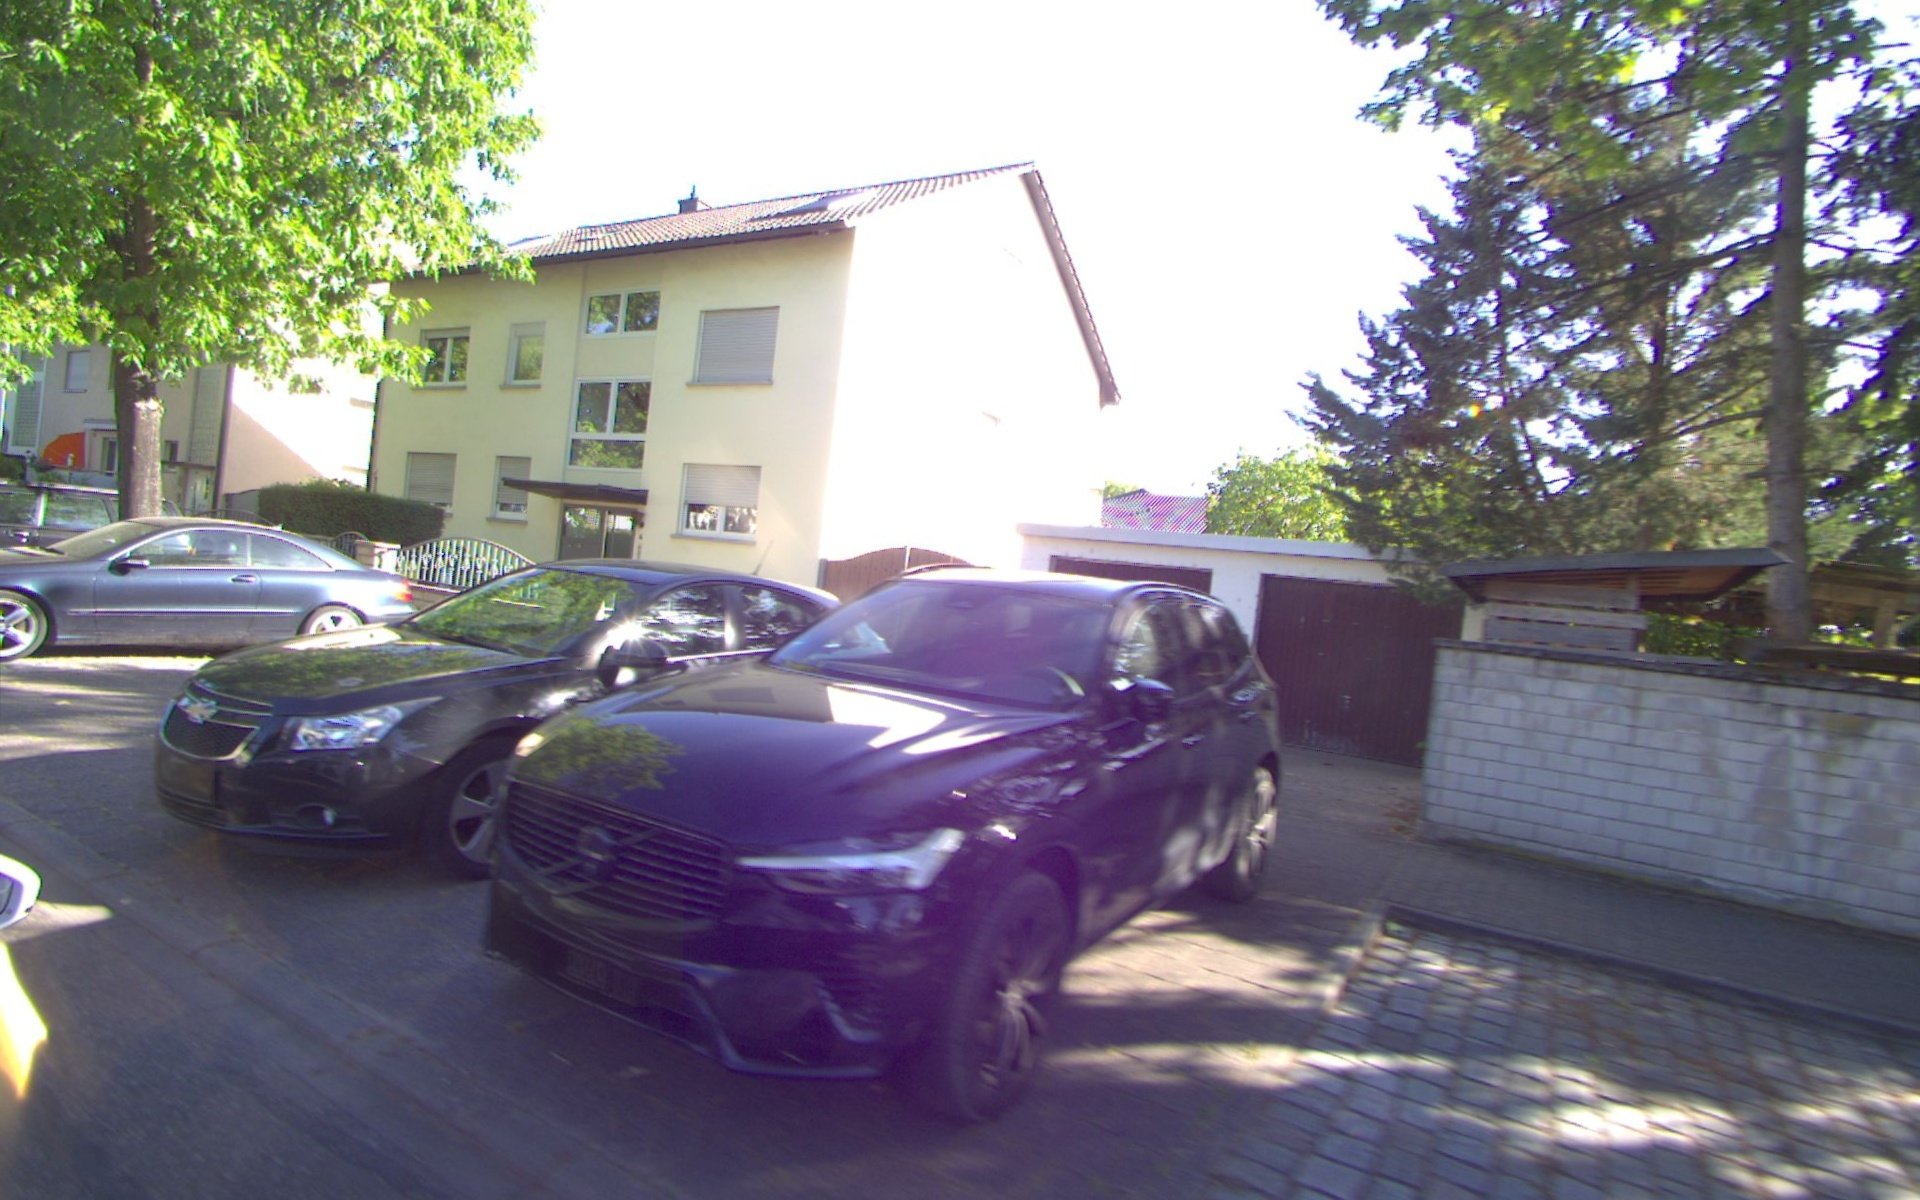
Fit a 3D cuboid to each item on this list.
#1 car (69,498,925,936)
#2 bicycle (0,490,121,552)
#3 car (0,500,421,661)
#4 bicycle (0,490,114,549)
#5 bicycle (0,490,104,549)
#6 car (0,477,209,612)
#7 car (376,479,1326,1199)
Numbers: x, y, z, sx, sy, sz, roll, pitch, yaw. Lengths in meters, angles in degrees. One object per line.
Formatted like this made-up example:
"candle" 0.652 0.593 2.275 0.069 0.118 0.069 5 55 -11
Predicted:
"car" -2.176 0.476 6.008 1.810 1.549 4.323 6 1 30
"bicycle" -22.475 -1.943 24.694 0.460 1.253 2.861 6 1 31
"car" -8.147 -0.175 10.191 1.663 1.349 4.428 7 2 33
"bicycle" -22.878 -2.011 24.946 0.460 1.253 2.860 6 1 31
"bicycle" -23.319 -2.053 25.158 0.460 1.253 2.861 7 1 31
"car" -12.589 -0.810 12.864 1.836 1.580 4.342 7 1 30
"car" 0.181 0.643 4.621 1.807 1.668 4.576 7 1 31
